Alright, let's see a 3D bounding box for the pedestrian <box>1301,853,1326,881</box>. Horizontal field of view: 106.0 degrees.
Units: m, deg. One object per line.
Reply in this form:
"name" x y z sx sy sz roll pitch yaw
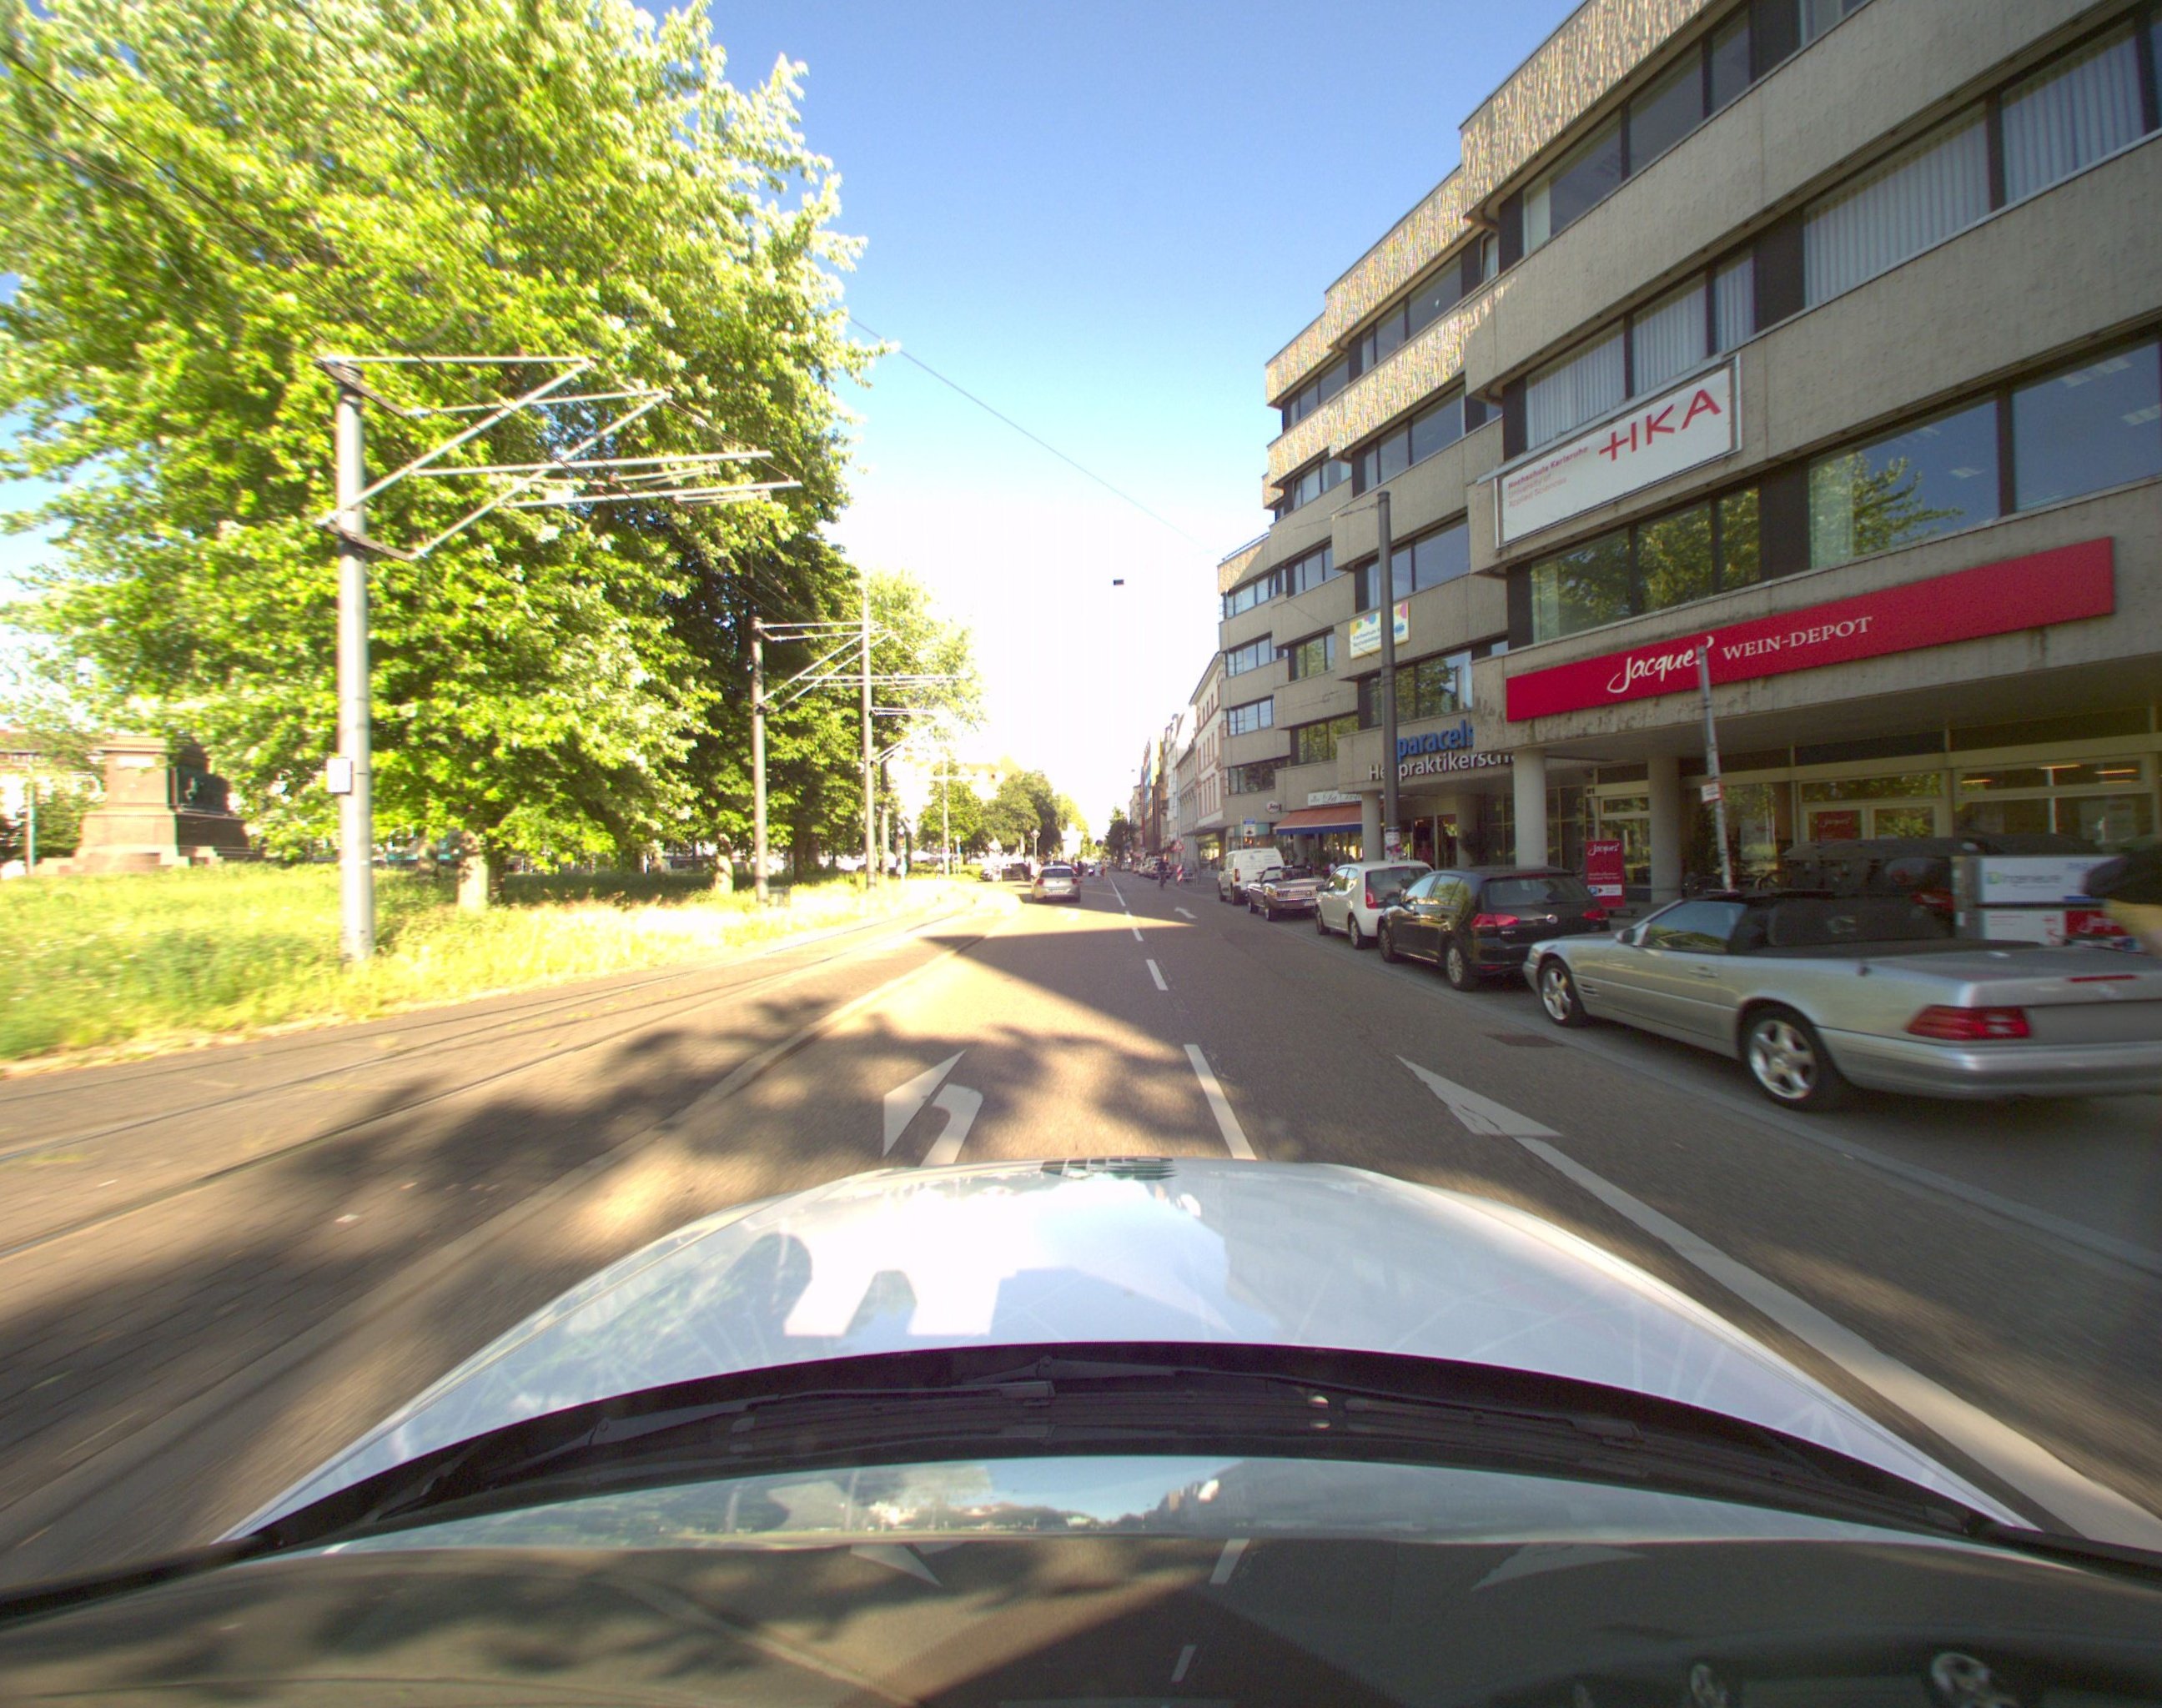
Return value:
"pedestrian" 11.215 0.643 39.293 0.841 1.292 0.828 -2 -2 -11

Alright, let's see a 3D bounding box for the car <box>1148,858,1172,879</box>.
"car" 6.919 1.293 71.371 1.739 1.739 4.960 0 -2 1

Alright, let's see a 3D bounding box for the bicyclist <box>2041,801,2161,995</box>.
"bicyclist" 7.757 0.311 5.756 0.757 1.326 0.991 1 -2 -8

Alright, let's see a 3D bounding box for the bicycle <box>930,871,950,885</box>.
"bicycle" -10.733 1.804 62.099 0.814 1.069 2.561 1 -2 -26

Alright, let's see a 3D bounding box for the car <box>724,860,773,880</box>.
"car" -40.080 1.905 98.263 5.357 2.314 1.985 1 -2 -22

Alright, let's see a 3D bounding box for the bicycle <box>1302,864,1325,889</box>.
"bicycle" 9.866 0.951 34.603 0.560 1.034 1.645 0 -2 2

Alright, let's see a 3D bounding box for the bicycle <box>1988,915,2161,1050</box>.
"bicycle" 7.805 0.921 5.679 0.533 0.892 2.066 1 -2 -5

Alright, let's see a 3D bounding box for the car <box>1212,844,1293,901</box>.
"car" 5.831 0.638 28.193 1.986 1.813 4.309 0 -2 1

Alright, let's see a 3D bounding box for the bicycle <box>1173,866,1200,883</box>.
"bicycle" 6.532 1.257 50.415 1.666 1.062 0.345 0 -2 17

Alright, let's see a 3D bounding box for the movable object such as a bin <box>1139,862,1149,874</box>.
"movable object such as a bin" 7.917 1.765 102.168 1.068 1.457 1.495 -4 0 6

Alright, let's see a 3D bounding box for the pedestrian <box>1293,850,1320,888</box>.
"pedestrian" 10.388 0.693 37.491 0.846 1.710 0.713 -2 -1 -27

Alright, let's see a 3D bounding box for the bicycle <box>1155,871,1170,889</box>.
"bicycle" 4.430 1.401 44.390 0.650 0.958 2.700 0 -2 3

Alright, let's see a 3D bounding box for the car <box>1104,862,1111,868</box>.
"car" 6.795 2.827 208.972 1.863 1.556 4.001 0 -2 2

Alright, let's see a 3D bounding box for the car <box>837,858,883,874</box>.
"car" -29.450 1.661 108.595 5.603 2.014 1.802 1 -2 -26

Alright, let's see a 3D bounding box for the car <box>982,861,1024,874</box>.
"car" -10.632 1.868 111.529 5.290 1.800 2.145 1 -2 -26

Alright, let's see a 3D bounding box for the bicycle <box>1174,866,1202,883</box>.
"bicycle" 6.657 1.286 50.779 1.690 1.004 0.430 0 -2 17

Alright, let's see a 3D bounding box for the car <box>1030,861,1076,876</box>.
"car" -3.075 1.606 89.603 4.854 1.488 1.751 1 -2 -23

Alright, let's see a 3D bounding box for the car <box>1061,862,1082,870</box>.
"car" -1.872 2.474 162.653 3.972 1.508 1.895 0 -1 2

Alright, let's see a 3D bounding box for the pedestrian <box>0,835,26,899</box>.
"pedestrian" -27.623 0.330 20.863 0.548 1.616 0.679 -1 -2 39

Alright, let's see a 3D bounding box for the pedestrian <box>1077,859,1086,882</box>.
"pedestrian" 0.030 1.199 59.322 0.633 1.672 0.693 0 -2 2

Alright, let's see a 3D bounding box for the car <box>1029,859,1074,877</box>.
"car" -2.838 1.319 78.255 3.994 1.668 1.990 1 -1 -15

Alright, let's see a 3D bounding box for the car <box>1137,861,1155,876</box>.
"car" 7.258 1.610 91.390 1.712 1.515 3.583 -3 -2 1

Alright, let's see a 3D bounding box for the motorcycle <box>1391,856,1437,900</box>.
"motorcycle" 9.526 0.689 23.371 0.759 1.155 2.053 -3 -2 11

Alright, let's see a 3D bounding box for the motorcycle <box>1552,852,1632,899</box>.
"motorcycle" 13.321 0.549 21.314 0.511 1.168 2.094 1 0 -10

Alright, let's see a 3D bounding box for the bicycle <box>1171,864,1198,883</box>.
"bicycle" 6.626 1.255 52.243 1.607 1.243 0.662 -1 -2 21

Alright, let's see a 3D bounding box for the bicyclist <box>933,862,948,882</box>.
"bicyclist" -10.704 1.402 62.074 0.933 1.507 0.818 1 -2 -26

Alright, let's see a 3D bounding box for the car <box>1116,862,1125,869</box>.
"car" 9.069 2.639 186.290 1.986 1.453 4.000 0 -1 1

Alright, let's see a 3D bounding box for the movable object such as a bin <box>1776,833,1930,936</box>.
"movable object such as a bin" 11.202 0.439 11.879 1.293 1.433 0.961 0 -2 9

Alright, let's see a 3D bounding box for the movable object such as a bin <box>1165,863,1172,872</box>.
"movable object such as a bin" 10.922 1.711 101.692 0.873 1.123 0.828 0 -2 1

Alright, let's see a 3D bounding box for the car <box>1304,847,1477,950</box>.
"car" 5.626 0.786 15.343 1.845 1.689 3.867 0 -2 1

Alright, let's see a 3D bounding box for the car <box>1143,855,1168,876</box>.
"car" 7.445 1.185 81.968 1.987 2.005 5.116 -1 -1 0

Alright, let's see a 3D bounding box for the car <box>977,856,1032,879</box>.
"car" -5.998 1.076 64.107 3.880 1.682 1.795 -1 -2 -28

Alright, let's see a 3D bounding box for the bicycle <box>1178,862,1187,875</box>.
"bicycle" 10.083 1.435 80.886 0.479 1.186 1.728 -4 -3 19

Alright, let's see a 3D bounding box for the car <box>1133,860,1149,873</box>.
"car" 8.275 1.763 112.712 1.892 1.675 4.825 0 -2 1

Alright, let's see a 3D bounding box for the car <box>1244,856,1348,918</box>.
"car" 5.522 0.844 21.502 1.766 1.454 4.734 0 -2 4

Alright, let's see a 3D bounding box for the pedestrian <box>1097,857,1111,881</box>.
"pedestrian" 1.657 1.079 58.234 0.673 1.699 0.795 2 -3 -42

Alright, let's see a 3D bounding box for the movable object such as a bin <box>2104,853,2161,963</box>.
"movable object such as a bin" 11.599 0.566 8.563 0.739 1.134 0.724 0 -2 7

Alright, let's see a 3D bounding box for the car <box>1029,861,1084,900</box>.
"car" -1.006 1.039 32.087 1.989 1.423 4.191 0 -2 -3

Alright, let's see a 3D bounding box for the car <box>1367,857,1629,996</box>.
"car" 5.355 0.857 11.134 1.664 1.519 4.203 0 -2 4

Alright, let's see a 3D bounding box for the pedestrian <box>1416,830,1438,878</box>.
"pedestrian" 13.413 0.003 31.587 0.698 1.816 0.720 0 -2 16

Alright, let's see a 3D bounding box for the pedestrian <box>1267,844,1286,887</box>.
"pedestrian" 8.794 0.522 36.630 0.667 1.856 0.611 -3 -2 4

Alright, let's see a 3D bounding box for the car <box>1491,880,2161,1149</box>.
"car" 5.307 0.889 6.444 1.845 1.344 4.599 0 -2 1

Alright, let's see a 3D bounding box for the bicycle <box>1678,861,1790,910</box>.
"bicycle" 13.914 0.647 17.423 1.834 0.981 0.686 0 -1 35

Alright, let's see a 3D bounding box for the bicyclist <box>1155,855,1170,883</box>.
"bicyclist" 4.411 0.820 44.213 0.783 1.453 1.096 0 -2 3

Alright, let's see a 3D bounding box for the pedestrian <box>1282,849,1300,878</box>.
"pedestrian" 9.438 0.432 36.634 0.627 1.236 0.625 -3 -2 4

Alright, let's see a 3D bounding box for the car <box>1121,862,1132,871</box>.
"car" 8.545 2.386 153.918 1.985 1.618 4.013 1 -2 4

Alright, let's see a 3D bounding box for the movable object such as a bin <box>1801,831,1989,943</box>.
"movable object such as a bin" 10.667 0.424 10.751 1.328 1.398 1.124 0 -2 9
